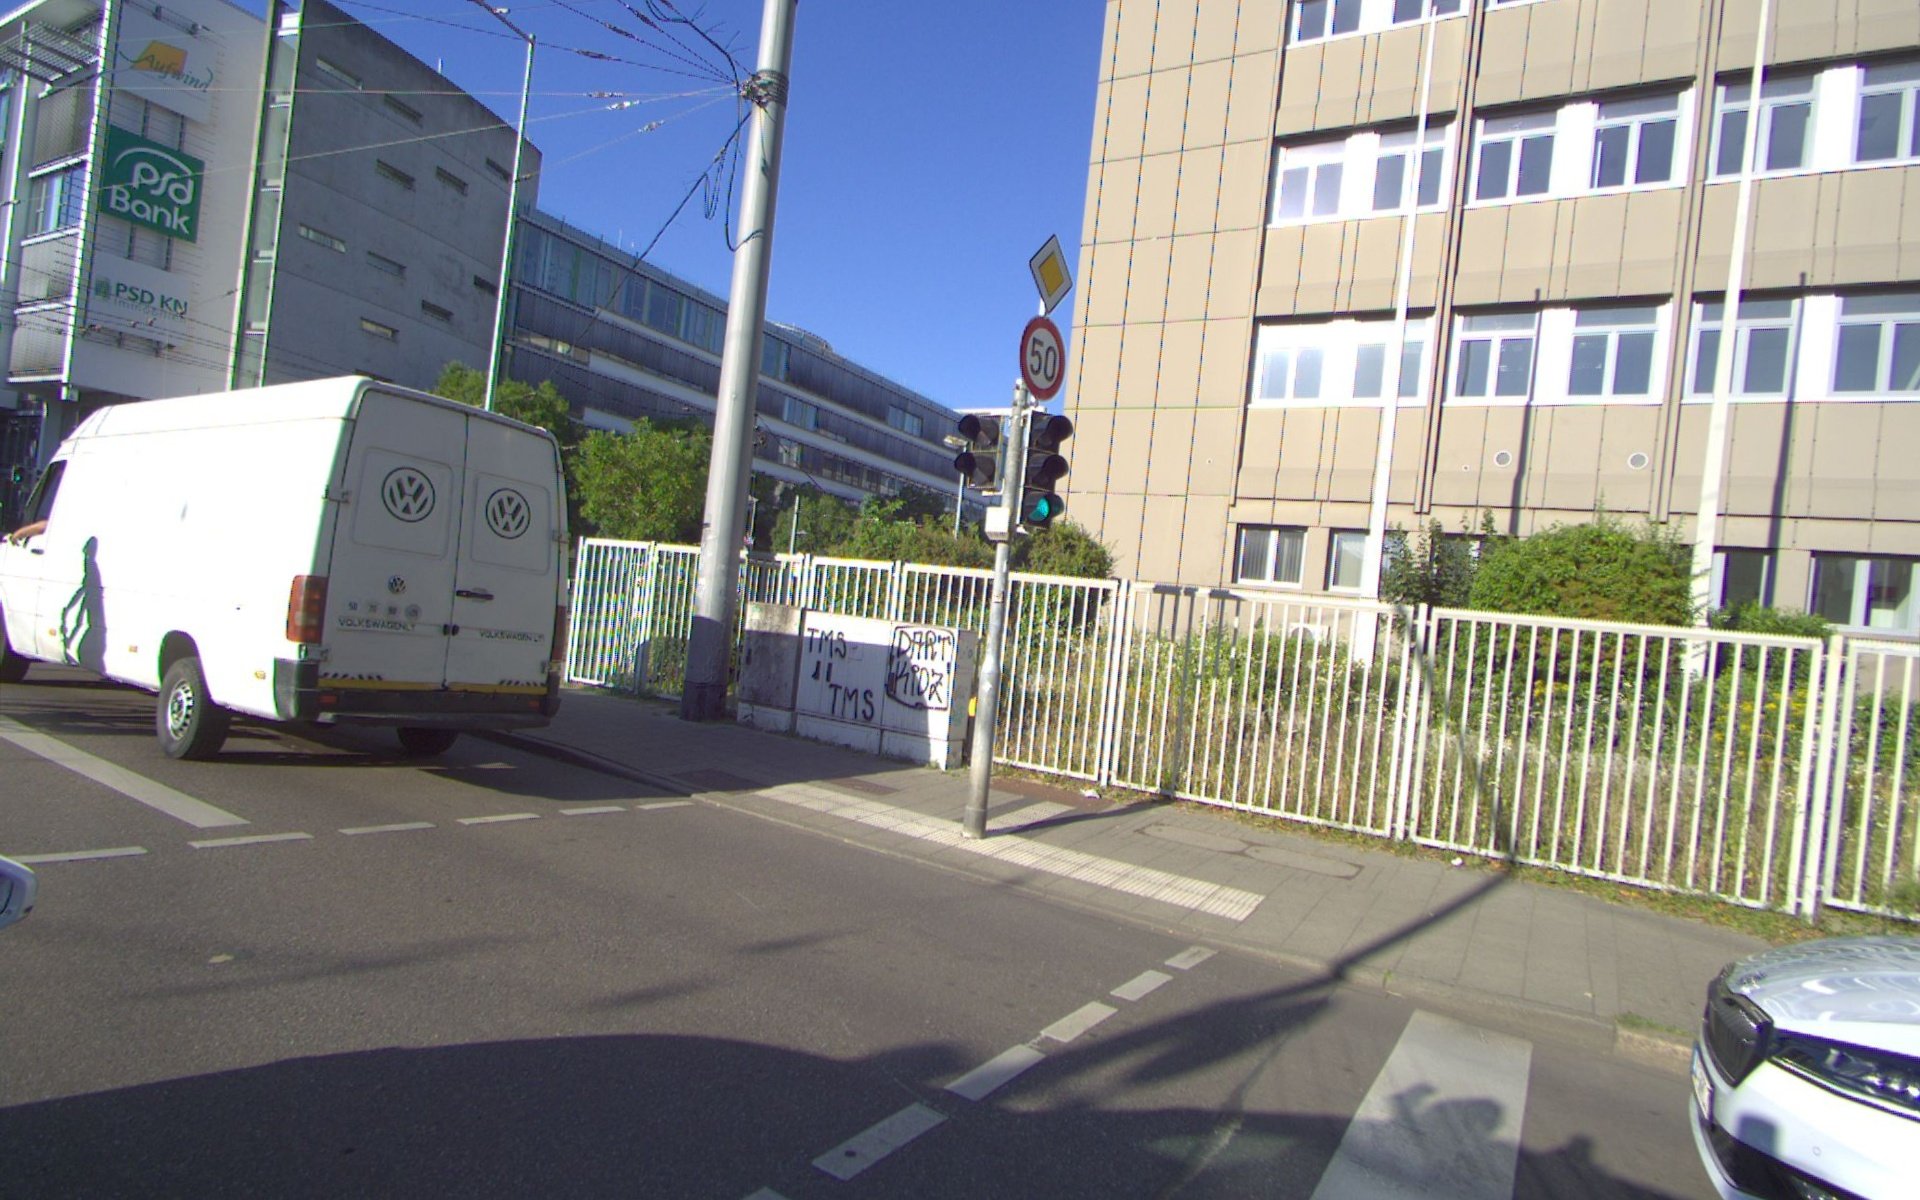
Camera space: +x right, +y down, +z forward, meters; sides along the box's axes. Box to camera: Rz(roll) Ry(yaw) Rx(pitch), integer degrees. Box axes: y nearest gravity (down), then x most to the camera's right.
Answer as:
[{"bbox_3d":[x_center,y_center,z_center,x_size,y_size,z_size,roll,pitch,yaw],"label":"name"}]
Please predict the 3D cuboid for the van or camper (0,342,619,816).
[{"bbox_3d":[-5.800,-0.307,8.322,6.202,2.748,1.971,6,-1,33],"label":"van or camper"}]

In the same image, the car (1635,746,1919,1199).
[{"bbox_3d":[3.975,1.374,2.156,4.008,1.405,1.704,6,-1,32],"label":"car"}]
